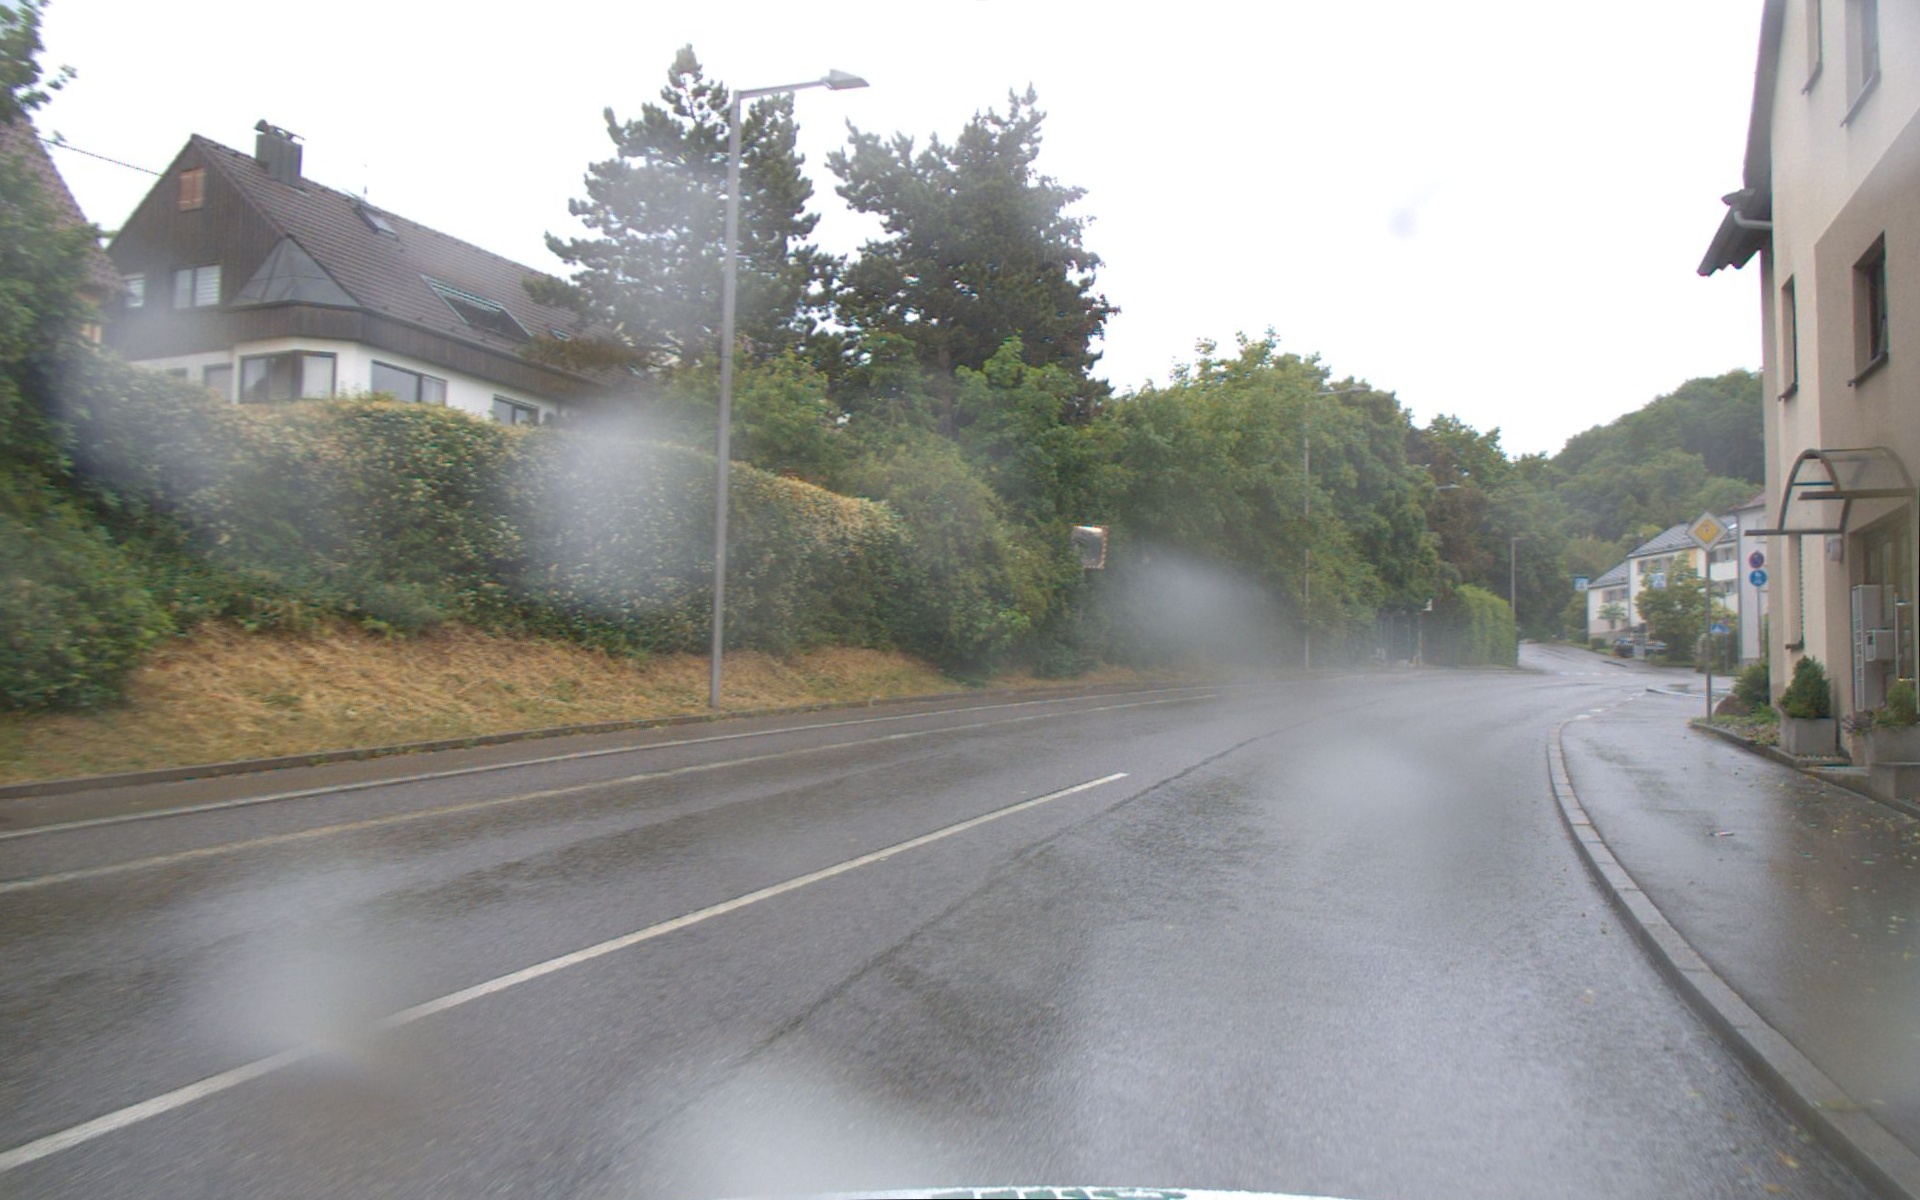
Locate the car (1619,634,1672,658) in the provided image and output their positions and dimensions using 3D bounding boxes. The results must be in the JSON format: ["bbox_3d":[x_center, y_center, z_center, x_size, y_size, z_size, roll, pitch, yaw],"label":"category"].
[{"bbox_3d":[58.460,3.917,141.038,3.903,1.803,2.001,2,-2,16],"label":"car"}]
